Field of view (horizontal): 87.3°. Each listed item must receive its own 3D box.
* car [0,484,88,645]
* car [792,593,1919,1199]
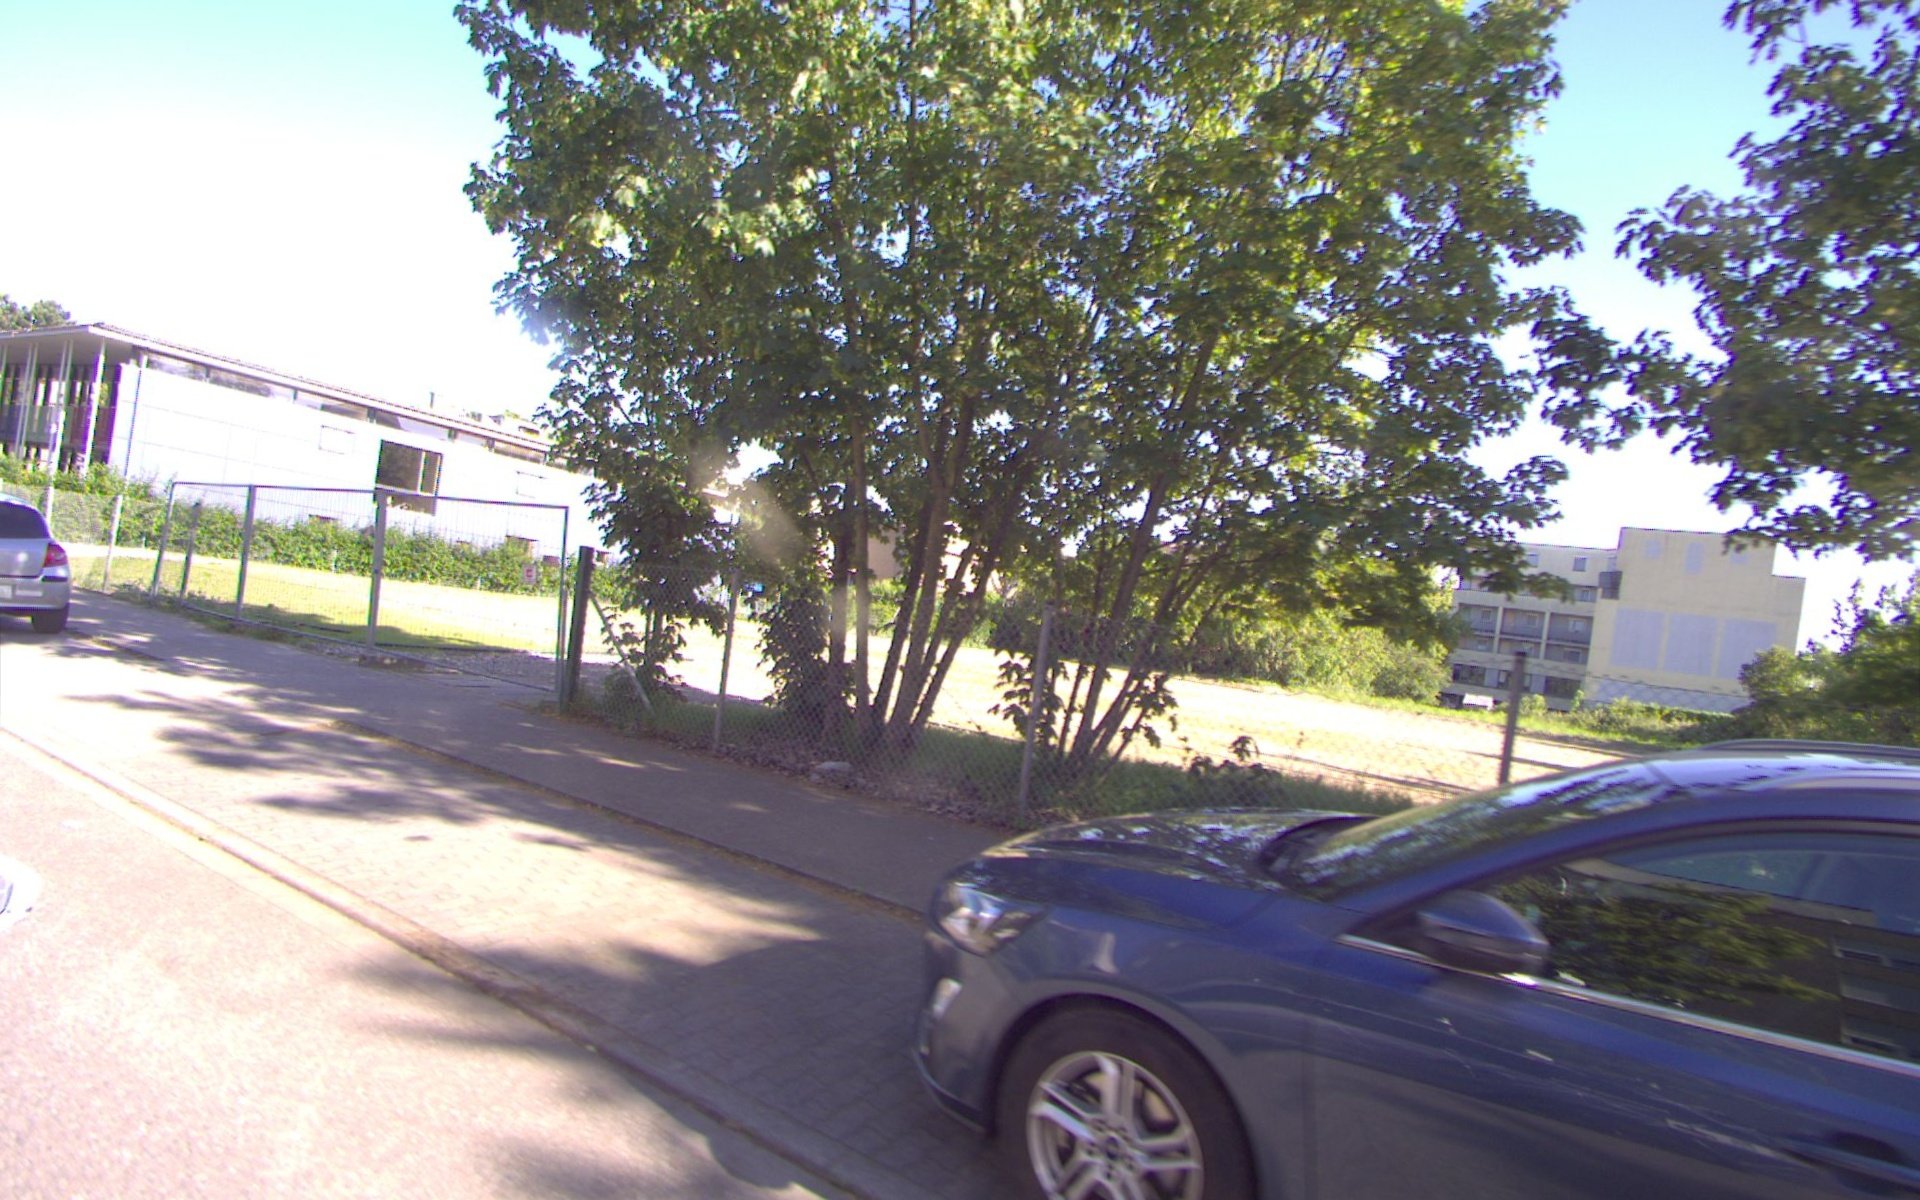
[{"bbox_3d":[-11.453,-0.613,11.093,3.935,1.531,1.665,9,0,33],"label":"car"},{"bbox_3d":[1.898,1.029,2.367,4.365,1.454,1.679,8,-1,32],"label":"car"}]
